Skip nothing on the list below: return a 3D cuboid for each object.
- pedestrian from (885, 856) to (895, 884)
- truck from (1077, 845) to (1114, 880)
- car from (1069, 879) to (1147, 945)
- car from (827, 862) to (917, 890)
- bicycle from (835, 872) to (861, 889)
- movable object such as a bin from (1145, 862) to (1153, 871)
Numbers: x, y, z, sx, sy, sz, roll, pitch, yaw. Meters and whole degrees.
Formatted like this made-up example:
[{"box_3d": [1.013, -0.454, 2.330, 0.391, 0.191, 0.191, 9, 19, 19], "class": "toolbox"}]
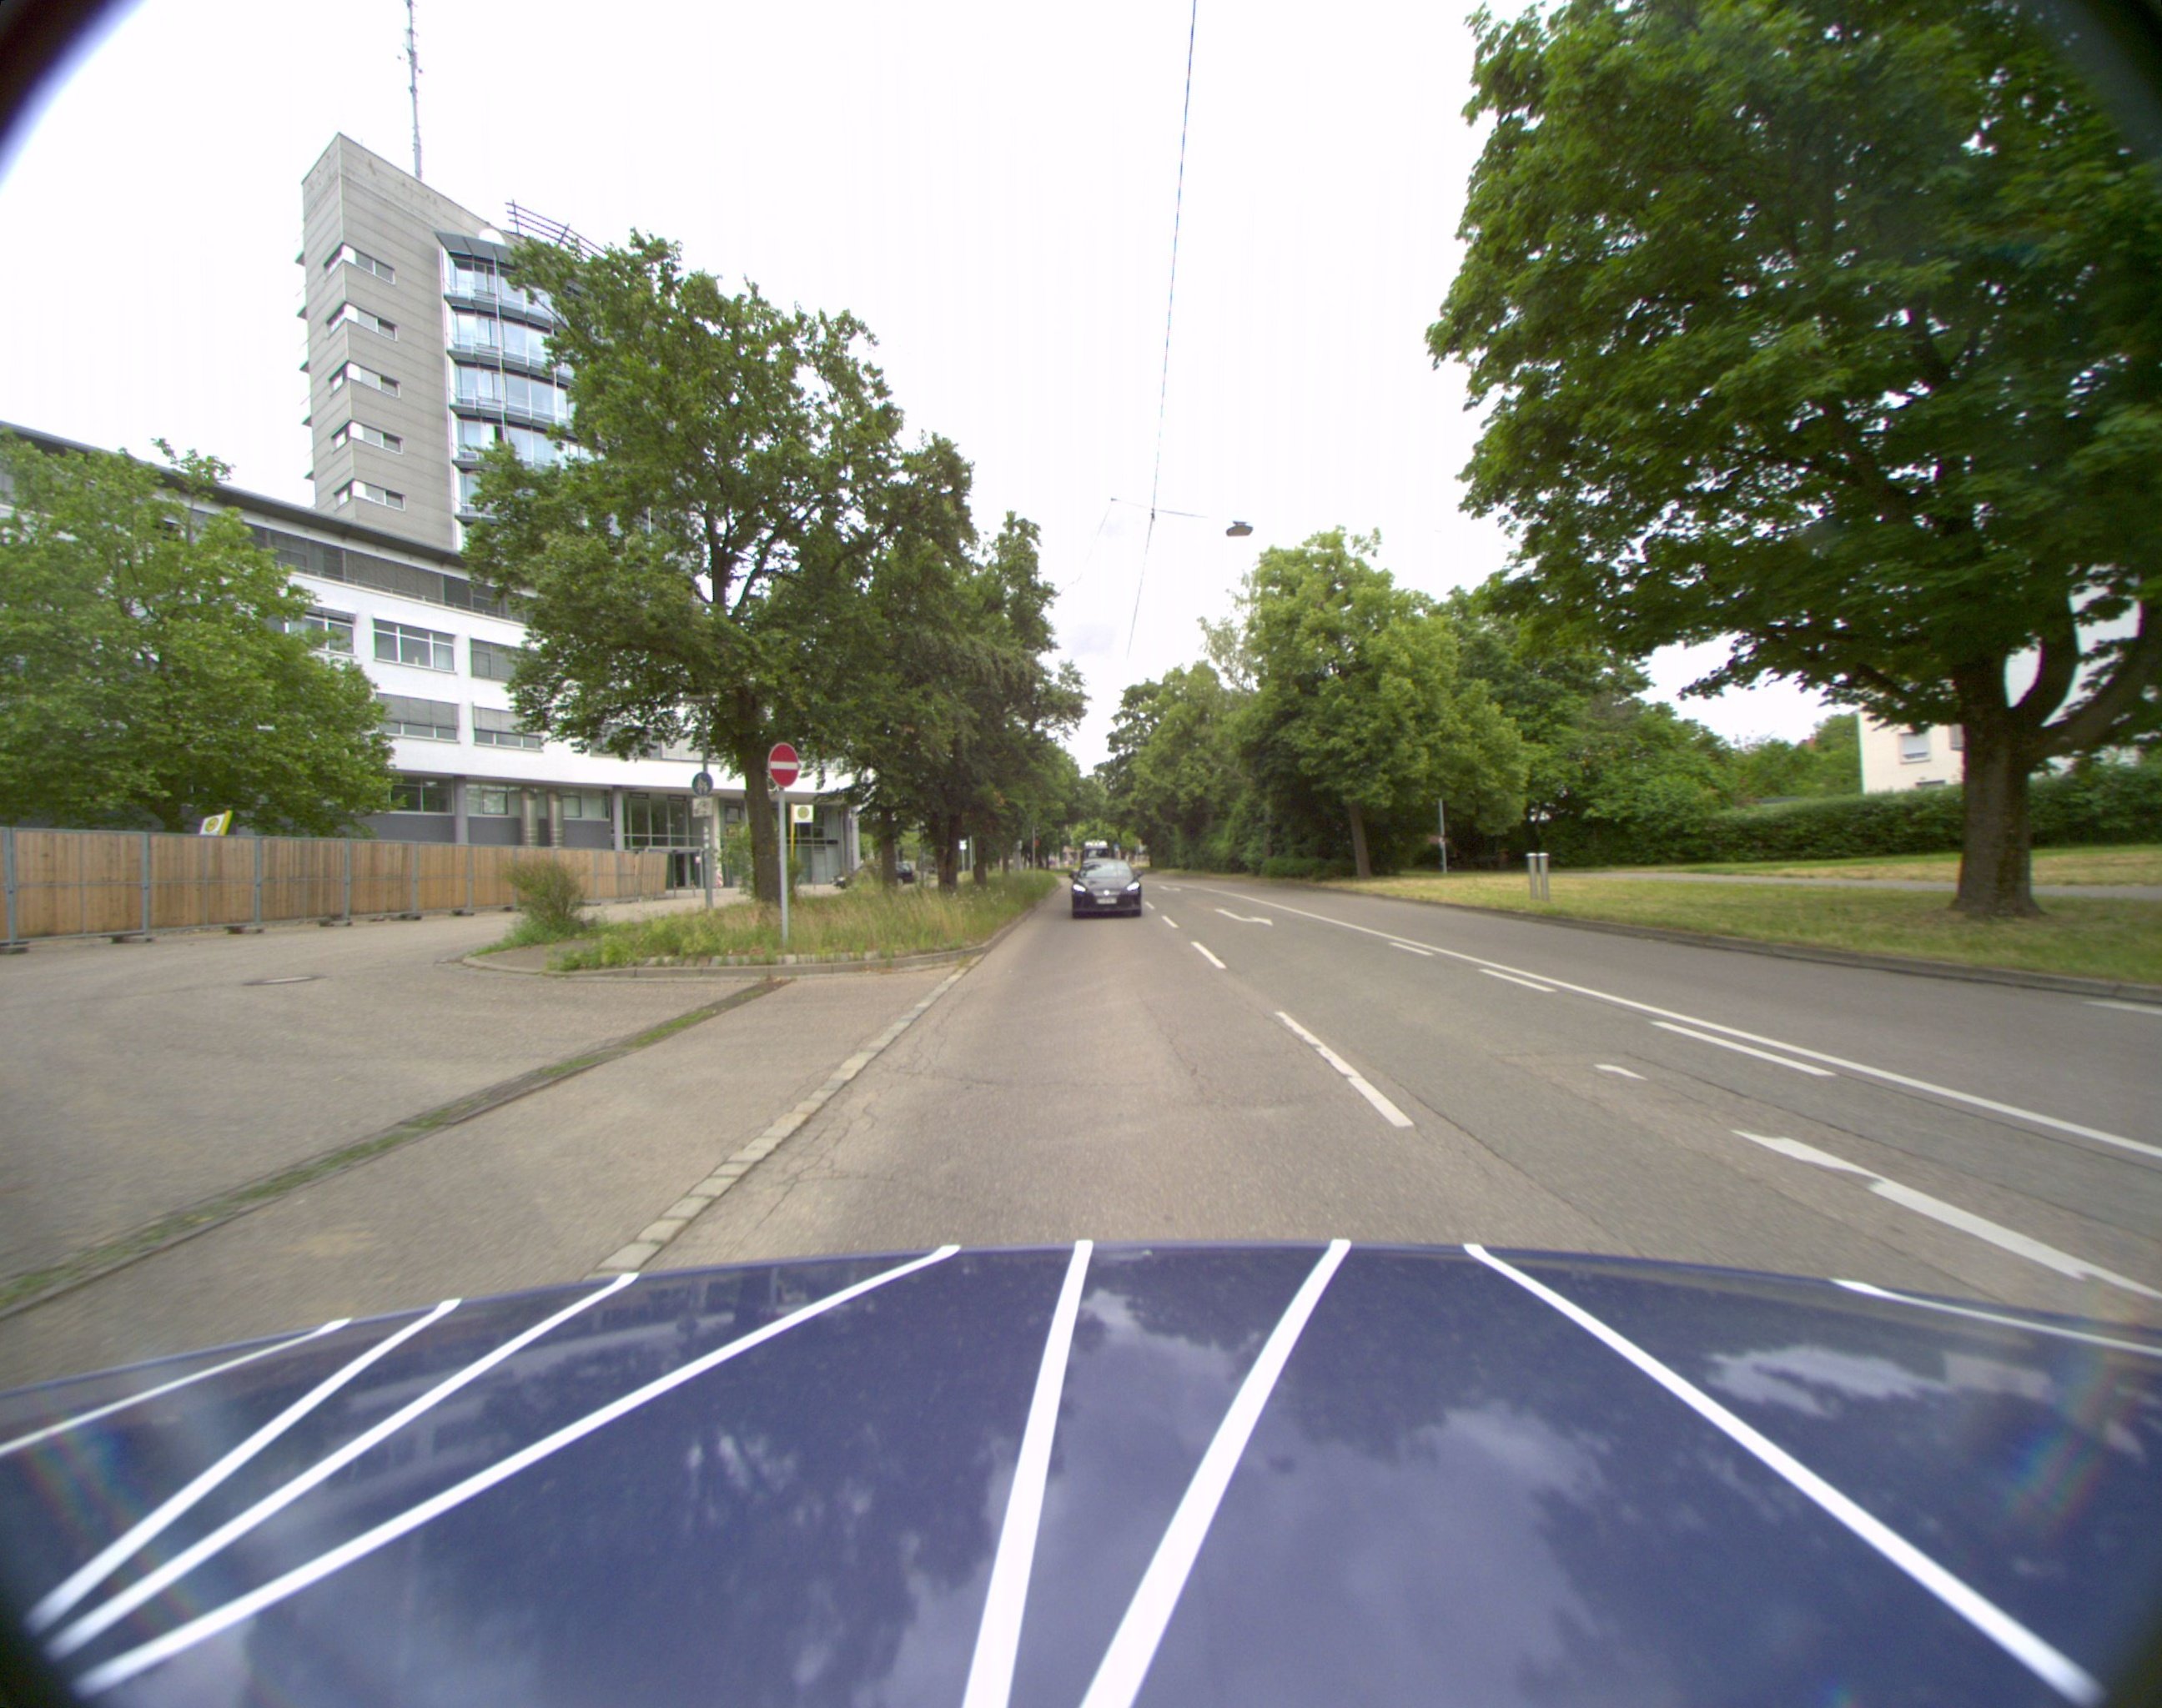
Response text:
[{"box_3d": [-11.872, 1.008, 47.297, 0.475, 1.743, 0.583, 1, -4, -29], "class": "pedestrian"}, {"box_3d": [1.377, 0.852, 74.496, 2.437, 3.176, 6.462, -3, 0, -9], "class": "truck"}, {"box_3d": [0.635, 1.511, 20.849, 1.800, 1.475, 4.019, -1, 0, -2], "class": "car"}, {"box_3d": [-12.372, 1.276, 45.174, 4.752, 1.507, 1.866, -1, 0, -43], "class": "car"}, {"box_3d": [-17.569, 1.974, 57.304, 1.739, 1.141, 0.490, -4, 0, -14], "class": "bicycle"}, {"box_3d": [7.500, 1.374, 83.626, 0.599, 0.840, 0.579, -6, -1, 22], "class": "movable object such as a bin"}]
